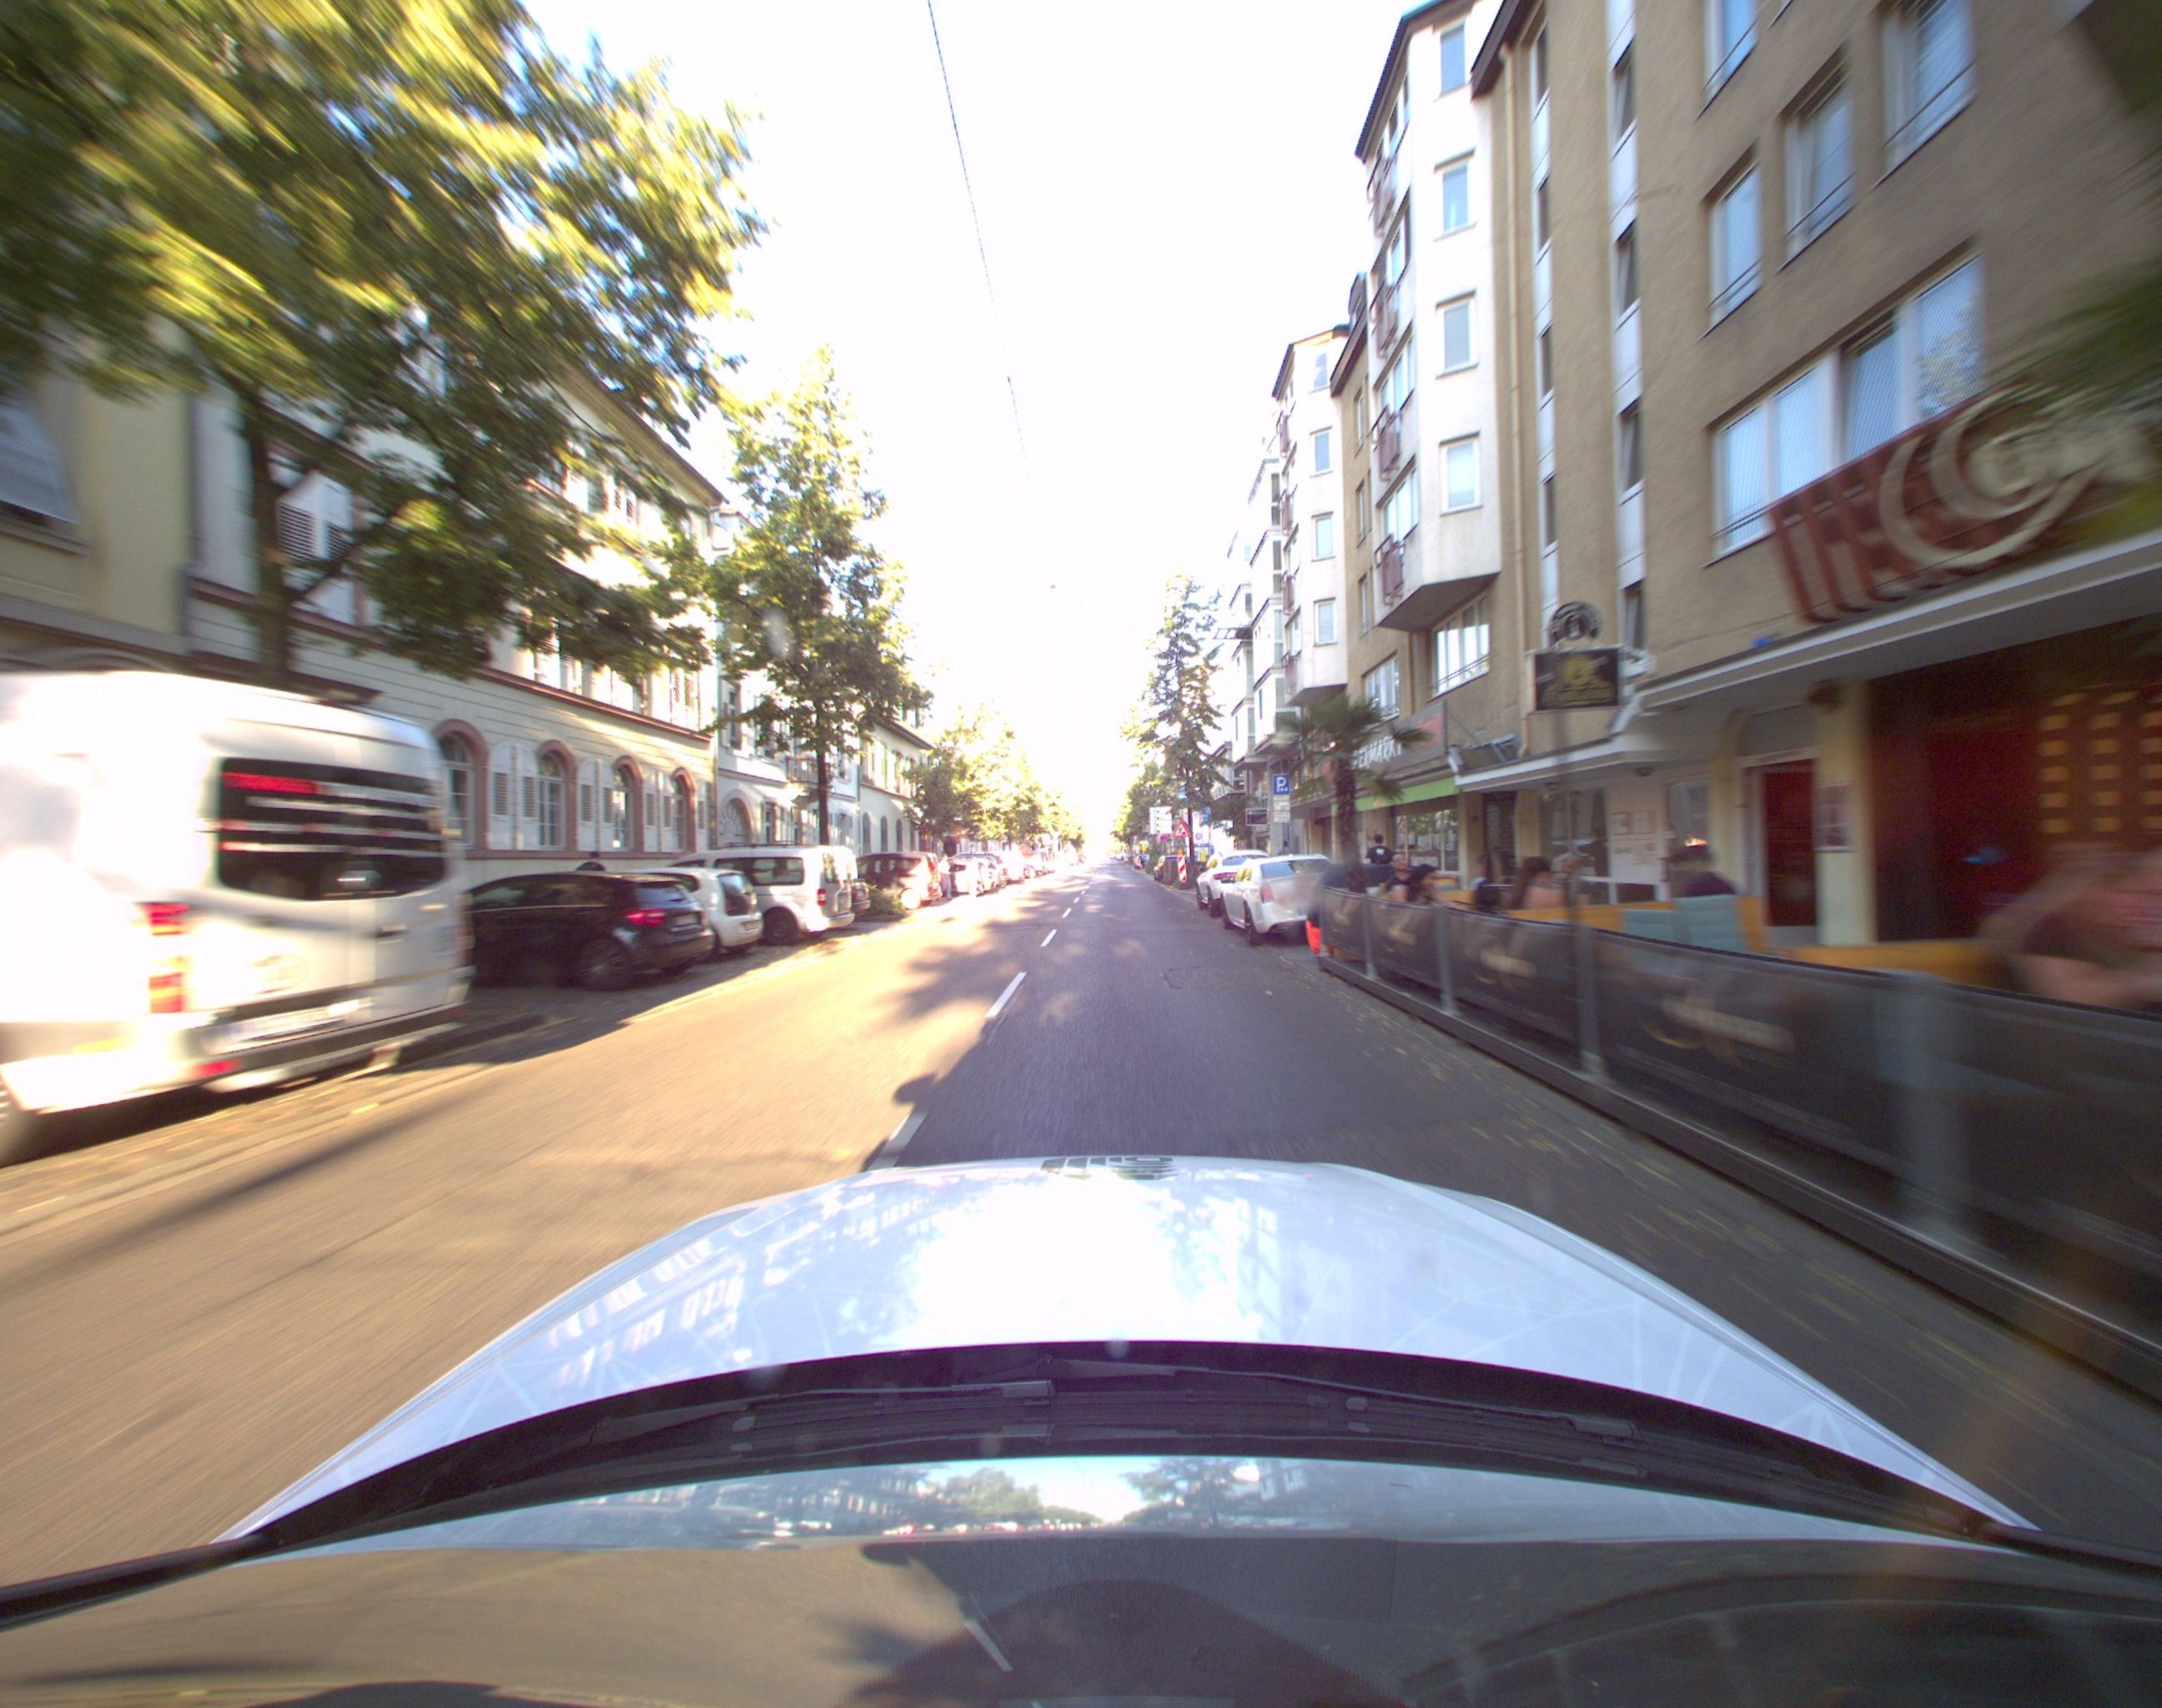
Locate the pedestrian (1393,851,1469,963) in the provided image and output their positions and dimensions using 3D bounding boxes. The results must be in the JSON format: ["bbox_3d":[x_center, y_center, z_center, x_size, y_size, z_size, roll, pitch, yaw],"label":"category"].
[{"bbox_3d":[4.088,0.605,9.543,0.575,1.244,0.603,-3,-1,2],"label":"pedestrian"}]

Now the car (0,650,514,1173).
[{"bbox_3d":[-7.221,0.282,5.231,5.637,2.621,2.172,0,0,2],"label":"car"}]

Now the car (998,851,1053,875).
[{"bbox_3d":[-4.646,0.743,68.709,4.469,1.976,1.965,0,0,-1],"label":"car"}]

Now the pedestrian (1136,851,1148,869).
[{"bbox_3d":[6.144,0.597,82.208,1.013,1.825,0.778,-4,0,-8],"label":"pedestrian"}]

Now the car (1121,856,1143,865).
[{"bbox_3d":[9.060,1.162,144.368,1.654,1.588,3.846,-1,0,45],"label":"car"}]

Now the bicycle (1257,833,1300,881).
[{"bbox_3d":[5.692,0.087,23.588,0.772,1.262,2.052,-4,0,3],"label":"bicycle"}]

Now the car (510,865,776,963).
[{"bbox_3d":[-6.948,0.918,13.203,3.360,1.467,1.712,0,0,-2],"label":"car"}]

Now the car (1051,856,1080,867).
[{"bbox_3d":[-2.446,1.219,129.002,4.553,1.698,2.061,0,-1,2],"label":"car"}]

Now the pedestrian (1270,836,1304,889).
[{"bbox_3d":[7.263,0.296,28.777,0.853,1.794,0.996,-2,0,-2],"label":"pedestrian"}]

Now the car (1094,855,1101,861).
[{"bbox_3d":[4.955,1.142,241.304,1.745,1.540,3.306,-1,-1,3],"label":"car"}]

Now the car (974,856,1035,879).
[{"bbox_3d":[-5.263,0.933,56.228,3.905,1.501,1.907,0,0,4],"label":"car"}]

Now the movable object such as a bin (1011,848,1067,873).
[{"bbox_3d":[-4.322,0.664,84.495,5.788,2.495,2.285,-1,-1,-45],"label":"movable object such as a bin"}]

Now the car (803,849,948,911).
[{"bbox_3d":[-6.517,0.810,26.105,4.120,1.806,1.808,-1,0,3],"label":"car"}]

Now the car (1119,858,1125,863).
[{"bbox_3d":[11.347,1.716,224.089,1.507,1.276,3.306,-1,-1,3],"label":"car"}]

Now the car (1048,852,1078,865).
[{"bbox_3d":[-2.796,0.763,126.318,4.554,1.962,1.991,0,-1,1],"label":"car"}]

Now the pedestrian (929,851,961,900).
[{"bbox_3d":[-5.008,0.790,30.026,0.918,1.759,0.763,-3,0,2],"label":"pedestrian"}]

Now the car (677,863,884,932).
[{"bbox_3d":[-6.843,0.979,18.794,4.135,1.439,1.595,-1,0,3],"label":"car"}]

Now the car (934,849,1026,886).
[{"bbox_3d":[-5.628,0.758,46.024,4.852,1.908,1.974,-1,0,1],"label":"car"}]

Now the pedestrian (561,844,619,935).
[{"bbox_3d":[-10.052,0.710,16.703,0.659,1.802,0.780,-2,-1,2],"label":"pedestrian"}]

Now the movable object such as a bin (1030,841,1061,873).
[{"bbox_3d":[-3.419,0.319,79.868,2.615,2.969,5.305,-1,0,2],"label":"movable object such as a bin"}]

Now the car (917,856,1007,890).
[{"bbox_3d":[-5.889,0.947,40.599,4.019,1.555,1.967,-1,0,4],"label":"car"}]

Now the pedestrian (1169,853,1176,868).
[{"bbox_3d":[9.580,0.673,85.370,0.656,1.562,0.702,-4,0,2],"label":"pedestrian"}]

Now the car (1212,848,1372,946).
[{"bbox_3d":[3.831,0.702,15.790,1.835,1.480,5.192,-4,0,2],"label":"car"}]

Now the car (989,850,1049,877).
[{"bbox_3d":[-4.796,0.717,63.412,4.465,1.976,2.070,-1,0,2],"label":"car"}]

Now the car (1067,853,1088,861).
[{"bbox_3d":[-0.664,0.651,174.472,4.424,1.759,1.920,0,-1,2],"label":"car"}]

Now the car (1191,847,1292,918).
[{"bbox_3d":[4.119,0.686,21.667,1.872,1.574,4.695,-4,0,2],"label":"car"}]

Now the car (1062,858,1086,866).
[{"bbox_3d":[-1.302,1.493,157.087,4.424,1.449,1.920,0,-1,2],"label":"car"}]

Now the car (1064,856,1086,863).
[{"bbox_3d":[-1.232,1.106,167.973,4.424,1.523,1.920,0,-1,2],"label":"car"}]

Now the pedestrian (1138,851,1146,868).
[{"bbox_3d":[6.352,0.598,84.944,0.677,1.754,0.823,-2,-1,-8],"label":"pedestrian"}]

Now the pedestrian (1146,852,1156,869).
[{"bbox_3d":[7.298,0.682,84.594,0.657,1.700,0.660,-3,-1,-42],"label":"pedestrian"}]

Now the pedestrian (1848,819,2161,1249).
[{"bbox_3d":[3.791,0.627,3.254,0.629,1.485,0.795,-3,0,2],"label":"pedestrian"}]

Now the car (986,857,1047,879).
[{"bbox_3d":[-4.675,0.999,59.256,4.316,1.501,1.840,0,0,-4],"label":"car"}]

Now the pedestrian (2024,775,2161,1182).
[{"bbox_3d":[4.569,0.474,3.208,0.705,1.598,0.795,-3,0,2],"label":"pedestrian"}]

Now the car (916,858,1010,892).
[{"bbox_3d":[-5.469,0.967,38.120,4.022,1.484,1.964,-1,0,1],"label":"car"}]

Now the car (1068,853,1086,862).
[{"bbox_3d":[-0.997,0.871,211.913,4.424,2.435,1.920,-1,-1,2],"label":"car"}]

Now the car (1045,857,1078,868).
[{"bbox_3d":[-2.792,1.193,116.038,4.530,1.541,1.811,0,-1,0],"label":"car"}]

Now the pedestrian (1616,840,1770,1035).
[{"bbox_3d":[4.662,0.605,6.249,0.575,1.384,0.719,-3,-1,2],"label":"pedestrian"}]

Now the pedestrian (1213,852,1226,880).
[{"bbox_3d":[7.645,0.677,44.967,0.608,1.525,0.773,-2,0,2],"label":"pedestrian"}]

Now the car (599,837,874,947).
[{"bbox_3d":[-6.566,0.697,15.843,4.480,1.953,1.921,-1,0,4],"label":"car"}]

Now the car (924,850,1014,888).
[{"bbox_3d":[-5.902,0.792,43.173,4.411,1.870,1.895,-1,0,2],"label":"car"}]

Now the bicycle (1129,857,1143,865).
[{"bbox_3d":[8.129,1.024,119.755,1.935,1.074,0.710,-1,0,33],"label":"bicycle"}]

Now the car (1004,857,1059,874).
[{"bbox_3d":[-4.359,1.025,71.839,4.573,1.470,1.895,0,0,4],"label":"car"}]

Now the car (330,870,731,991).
[{"bbox_3d":[-6.924,0.925,10.565,3.974,1.404,1.750,0,-1,0],"label":"car"}]

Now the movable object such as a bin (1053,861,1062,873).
[{"bbox_3d":[-2.156,1.161,73.803,0.687,1.105,0.884,-2,0,4],"label":"movable object such as a bin"}]

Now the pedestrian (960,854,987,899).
[{"bbox_3d":[-4.037,0.839,30.584,0.824,1.638,0.828,-2,-1,3],"label":"pedestrian"}]

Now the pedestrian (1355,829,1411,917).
[{"bbox_3d":[6.035,0.375,16.307,0.785,1.704,0.701,-3,0,2],"label":"pedestrian"}]

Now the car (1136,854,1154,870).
[{"bbox_3d":[6.885,0.852,88.095,1.680,1.575,4.015,-4,0,2],"label":"car"}]

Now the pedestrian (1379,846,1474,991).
[{"bbox_3d":[3.359,0.603,7.969,0.575,1.319,0.704,-3,-1,2],"label":"pedestrian"}]

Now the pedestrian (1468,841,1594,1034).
[{"bbox_3d":[3.440,0.615,6.270,0.575,1.384,0.603,-3,-1,2],"label":"pedestrian"}]

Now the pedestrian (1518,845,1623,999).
[{"bbox_3d":[4.663,0.624,7.799,0.575,1.384,0.603,-3,-1,2],"label":"pedestrian"}]

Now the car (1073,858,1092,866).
[{"bbox_3d":[0.376,2.039,201.891,4.424,1.959,1.920,-1,-1,2],"label":"car"}]

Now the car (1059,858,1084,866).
[{"bbox_3d":[-1.711,1.470,150.569,4.424,1.568,1.920,0,-1,2],"label":"car"}]

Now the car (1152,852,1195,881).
[{"bbox_3d":[5.239,0.688,46.562,1.822,1.488,4.849,-3,0,0],"label":"car"}]

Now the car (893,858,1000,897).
[{"bbox_3d":[-5.409,0.932,33.212,4.046,1.461,1.685,-1,0,-1],"label":"car"}]

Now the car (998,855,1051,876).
[{"bbox_3d":[-4.574,0.921,66.073,4.113,1.637,1.861,0,0,2],"label":"car"}]
